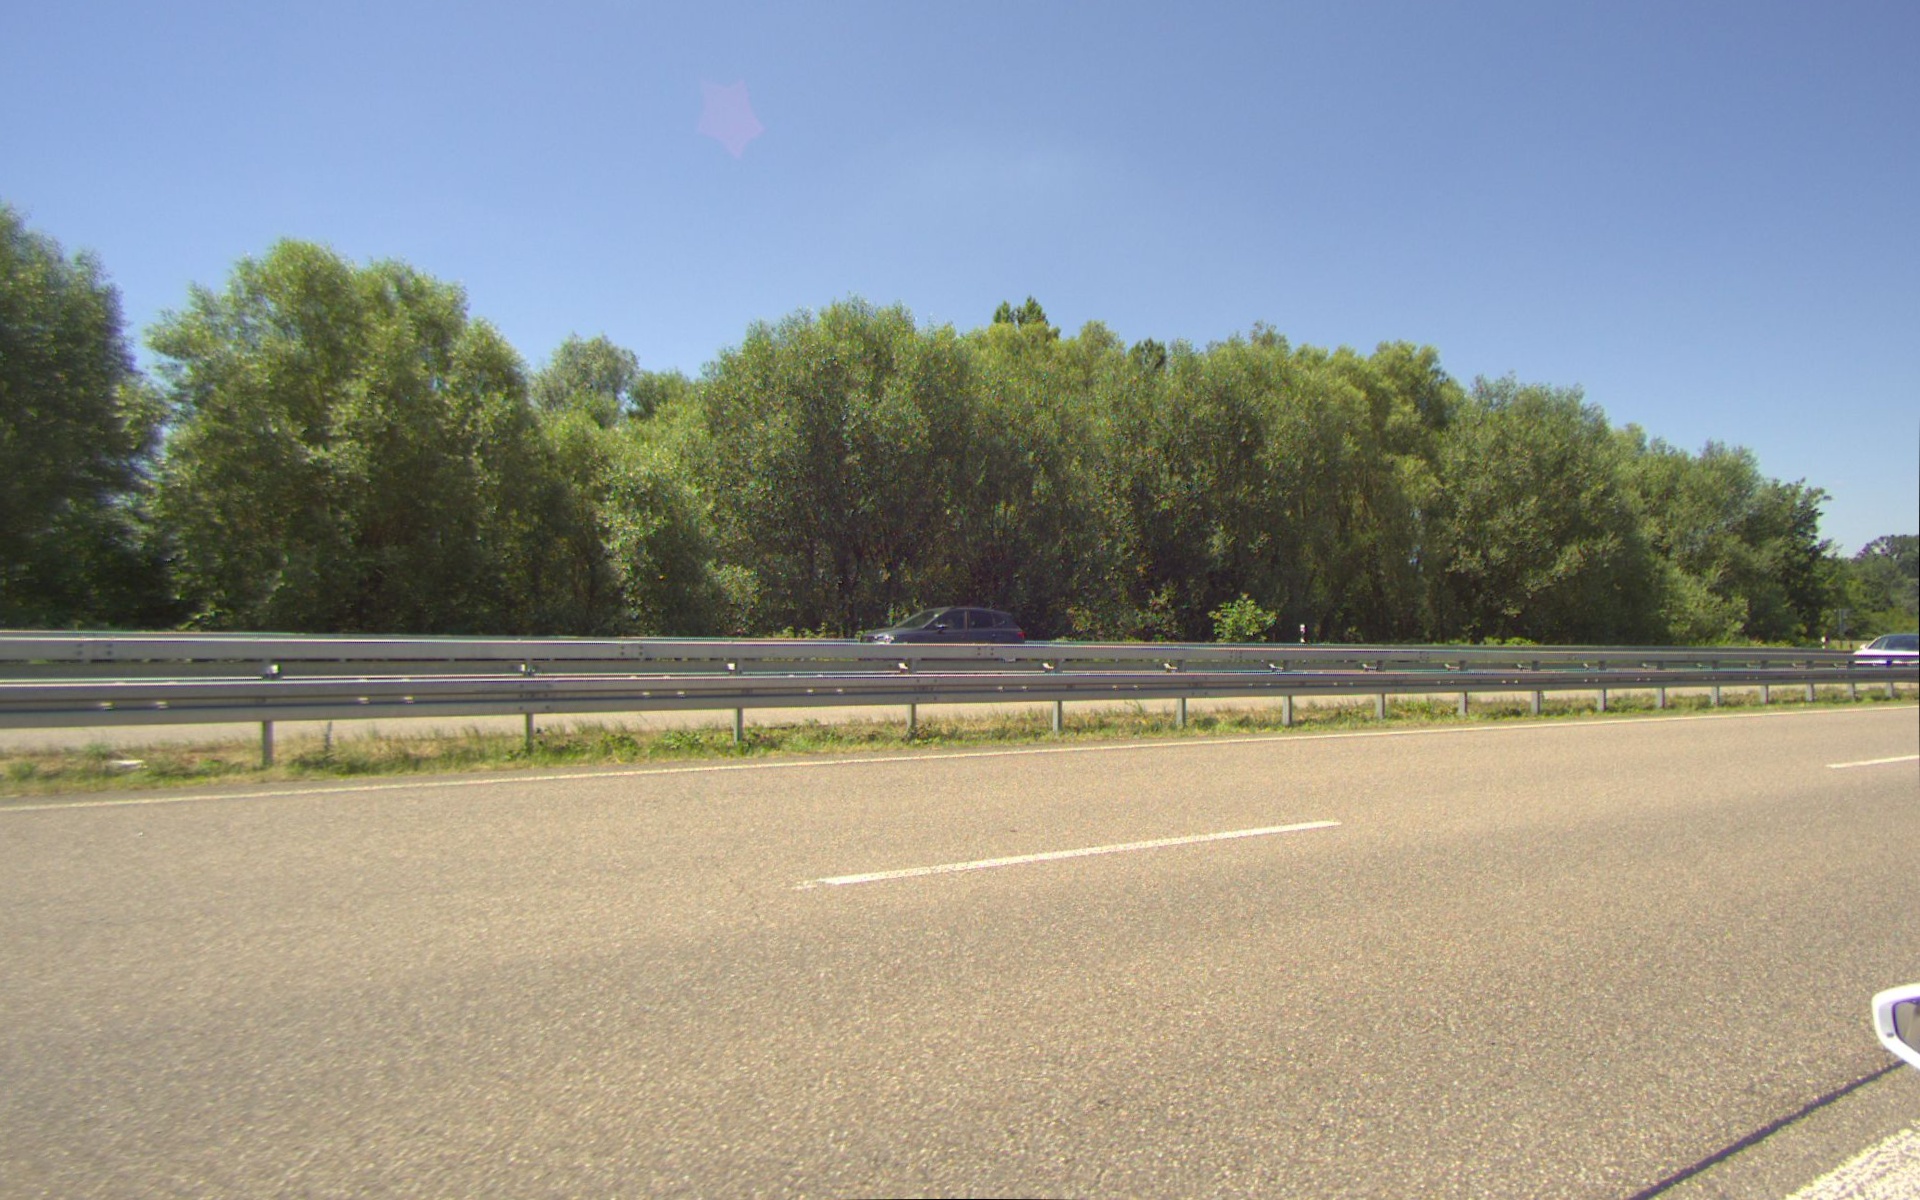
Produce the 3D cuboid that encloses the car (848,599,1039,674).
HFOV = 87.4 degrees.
[{"bbox_3d":[-0.355,0.819,22.943,4.025,1.572,1.681,2,0,-29],"label":"car"}]

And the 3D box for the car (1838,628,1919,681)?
[{"bbox_3d":[29.941,1.713,31.939,3.954,1.509,1.908,2,0,-31],"label":"car"}]
